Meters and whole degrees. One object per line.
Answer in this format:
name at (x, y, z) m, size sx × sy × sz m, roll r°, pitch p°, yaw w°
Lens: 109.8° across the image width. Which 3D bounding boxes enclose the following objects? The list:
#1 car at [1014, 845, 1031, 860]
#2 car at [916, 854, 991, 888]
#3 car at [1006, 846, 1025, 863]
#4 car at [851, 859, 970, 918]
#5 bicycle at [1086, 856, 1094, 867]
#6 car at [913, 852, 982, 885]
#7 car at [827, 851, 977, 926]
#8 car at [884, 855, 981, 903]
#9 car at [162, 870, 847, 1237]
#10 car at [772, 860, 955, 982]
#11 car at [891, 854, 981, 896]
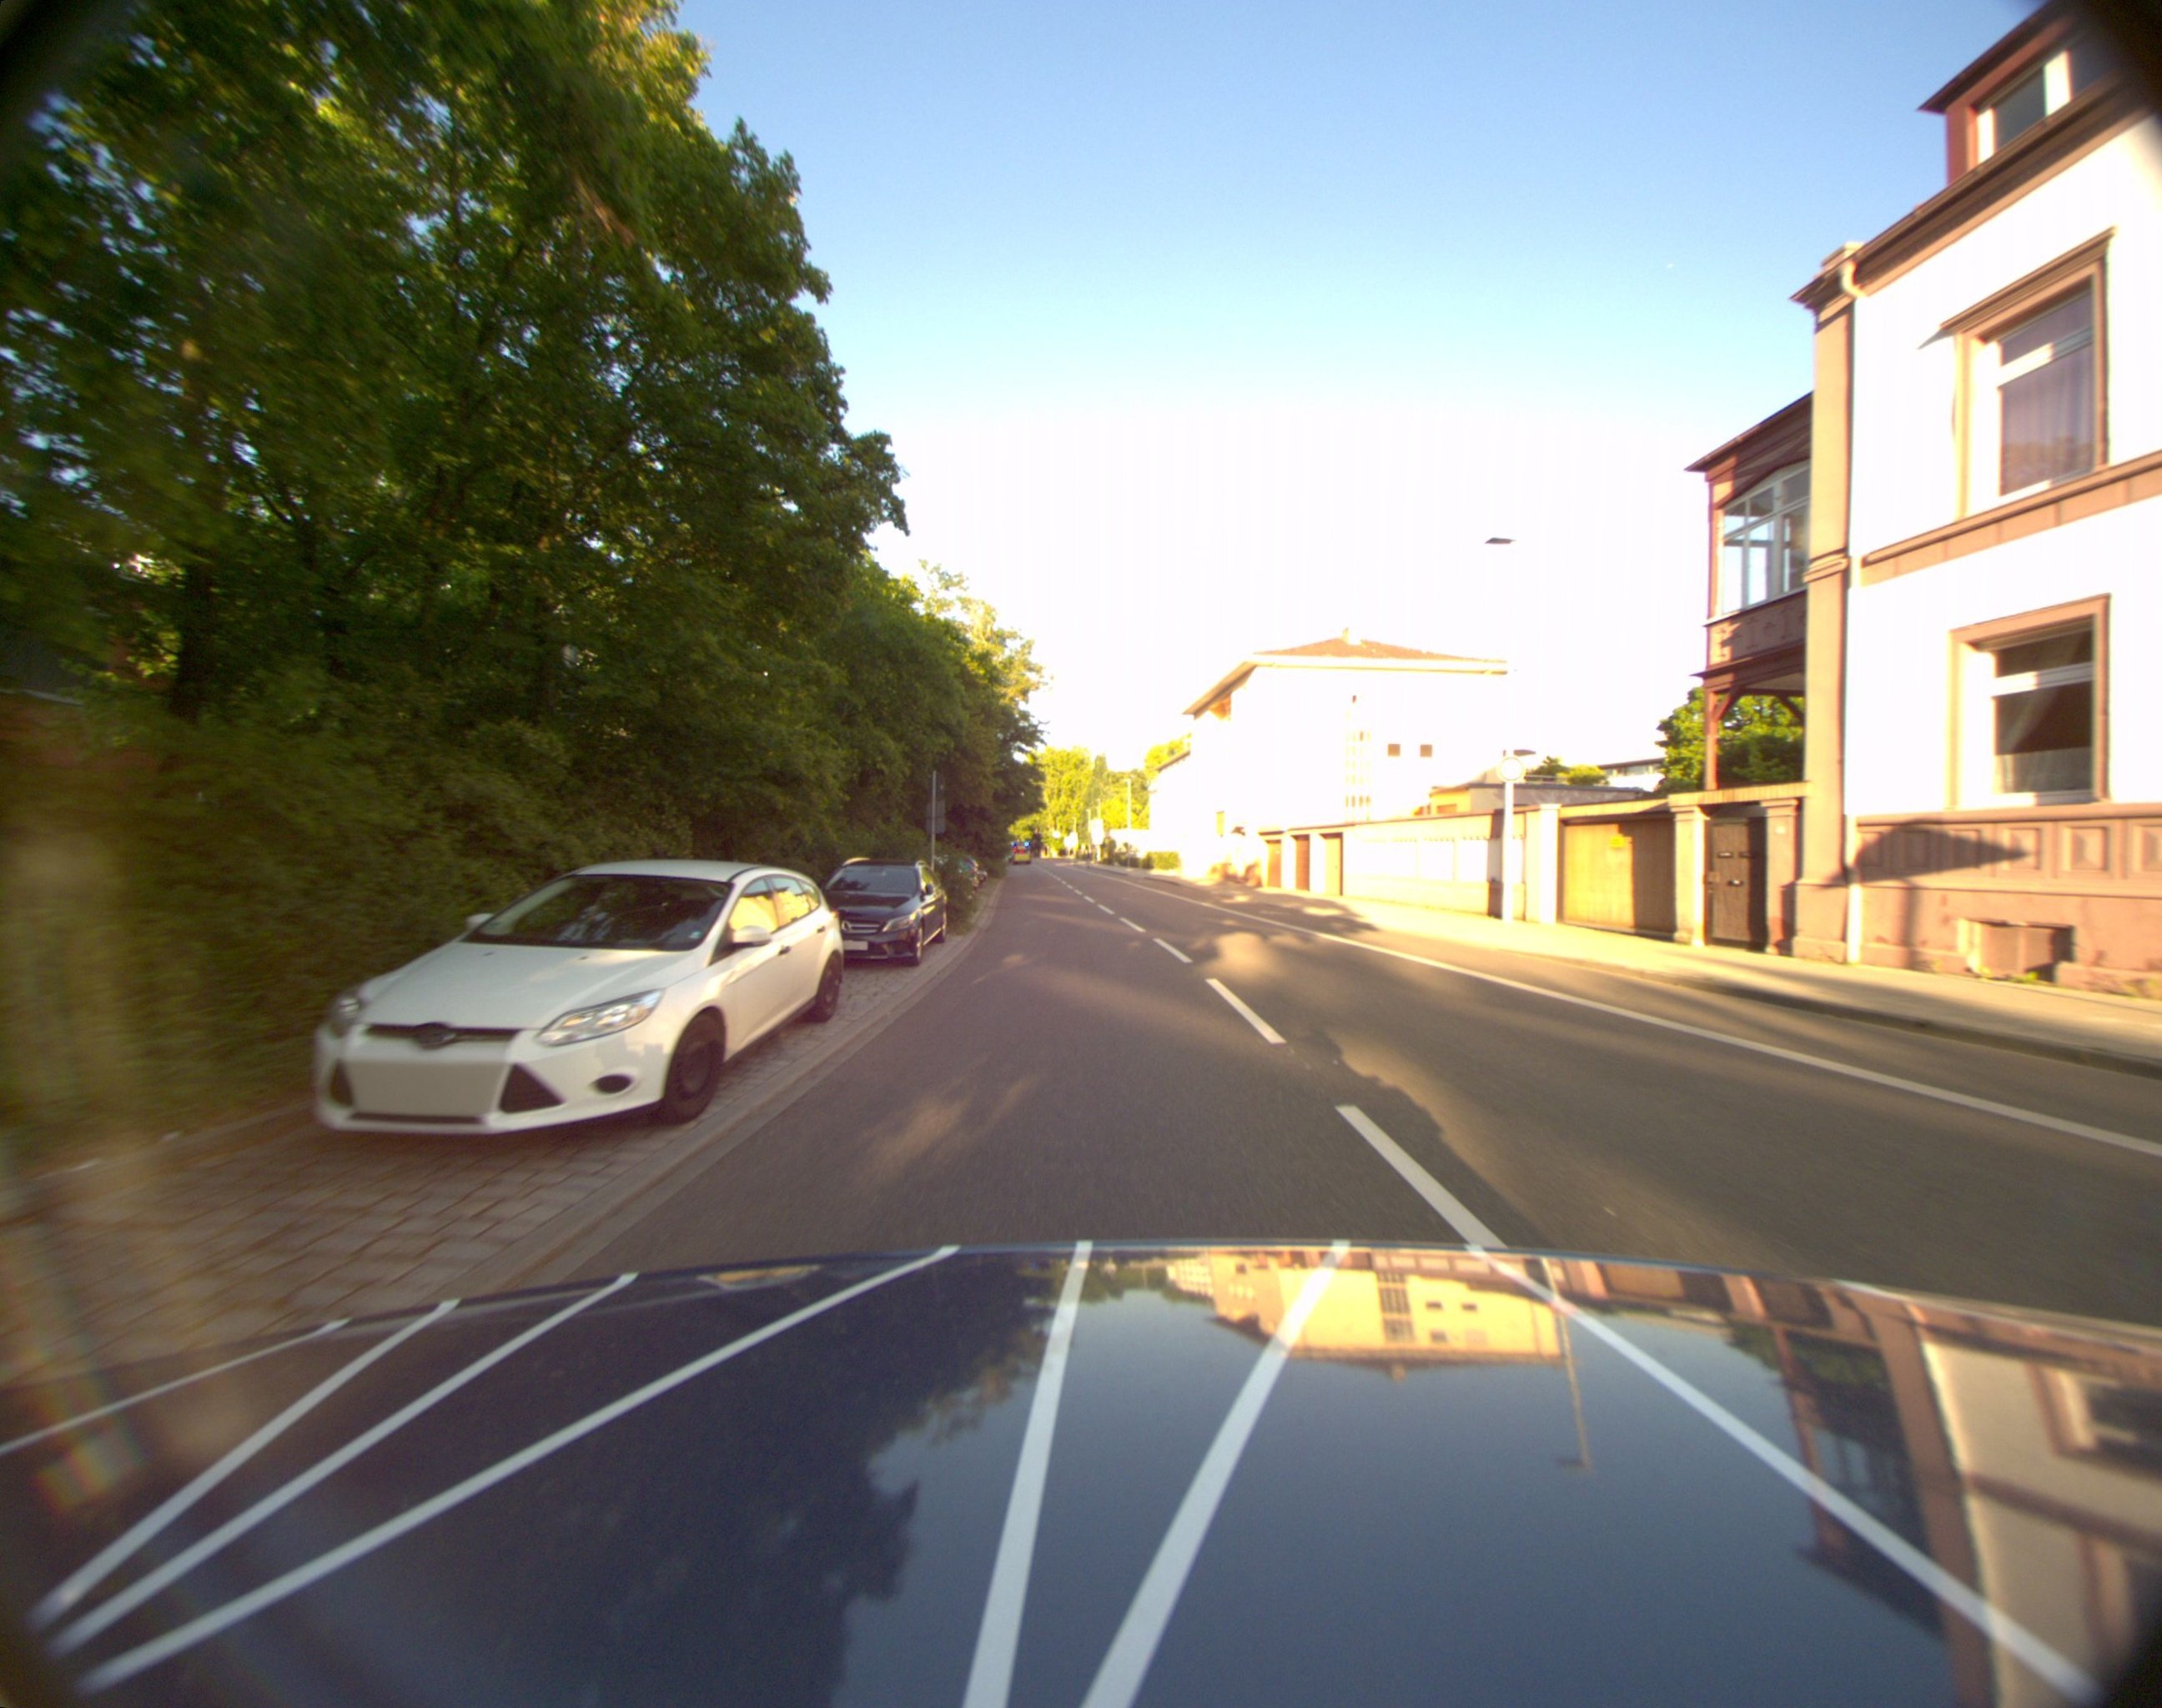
car at (-7.997, -0.186, 104.741) m, size 2.229 × 2.002 × 4.888 m, roll 0°, pitch 0°, yaw -3°
car at (-5.598, 0.727, 33.522) m, size 3.118 × 1.452 × 1.529 m, roll 0°, pitch 1°, yaw -4°
car at (-7.755, 0.028, 90.163) m, size 1.999 × 2.002 × 3.999 m, roll 0°, pitch 0°, yaw -3°
car at (-4.518, 0.897, 20.436) m, size 2.868 × 1.519 × 1.622 m, roll 0°, pitch 1°, yaw -1°
bicycle at (0.894, 0.771, 75.184) m, size 0.576 × 1.056 × 1.848 m, roll 0°, pitch 0°, yaw -6°
car at (-6.354, 0.657, 36.307) m, size 2.985 × 1.518 × 1.530 m, roll 0°, pitch 1°, yaw 4°
car at (-4.189, 0.784, 18.203) m, size 3.265 × 1.714 × 1.679 m, roll 0°, pitch 1°, yaw -4°
car at (-5.030, 0.816, 25.698) m, size 3.121 × 1.519 × 1.620 m, roll 0°, pitch 1°, yaw -12°
car at (-3.129, 0.909, 5.387) m, size 1.752 × 1.478 × 4.175 m, roll 0°, pitch 0°, yaw -2°
car at (-3.129, 0.866, 11.887) m, size 1.753 × 1.478 × 4.507 m, roll 0°, pitch 0°, yaw -3°
car at (-5.345, 0.761, 28.304) m, size 3.119 × 1.519 × 1.528 m, roll 0°, pitch 1°, yaw -4°
